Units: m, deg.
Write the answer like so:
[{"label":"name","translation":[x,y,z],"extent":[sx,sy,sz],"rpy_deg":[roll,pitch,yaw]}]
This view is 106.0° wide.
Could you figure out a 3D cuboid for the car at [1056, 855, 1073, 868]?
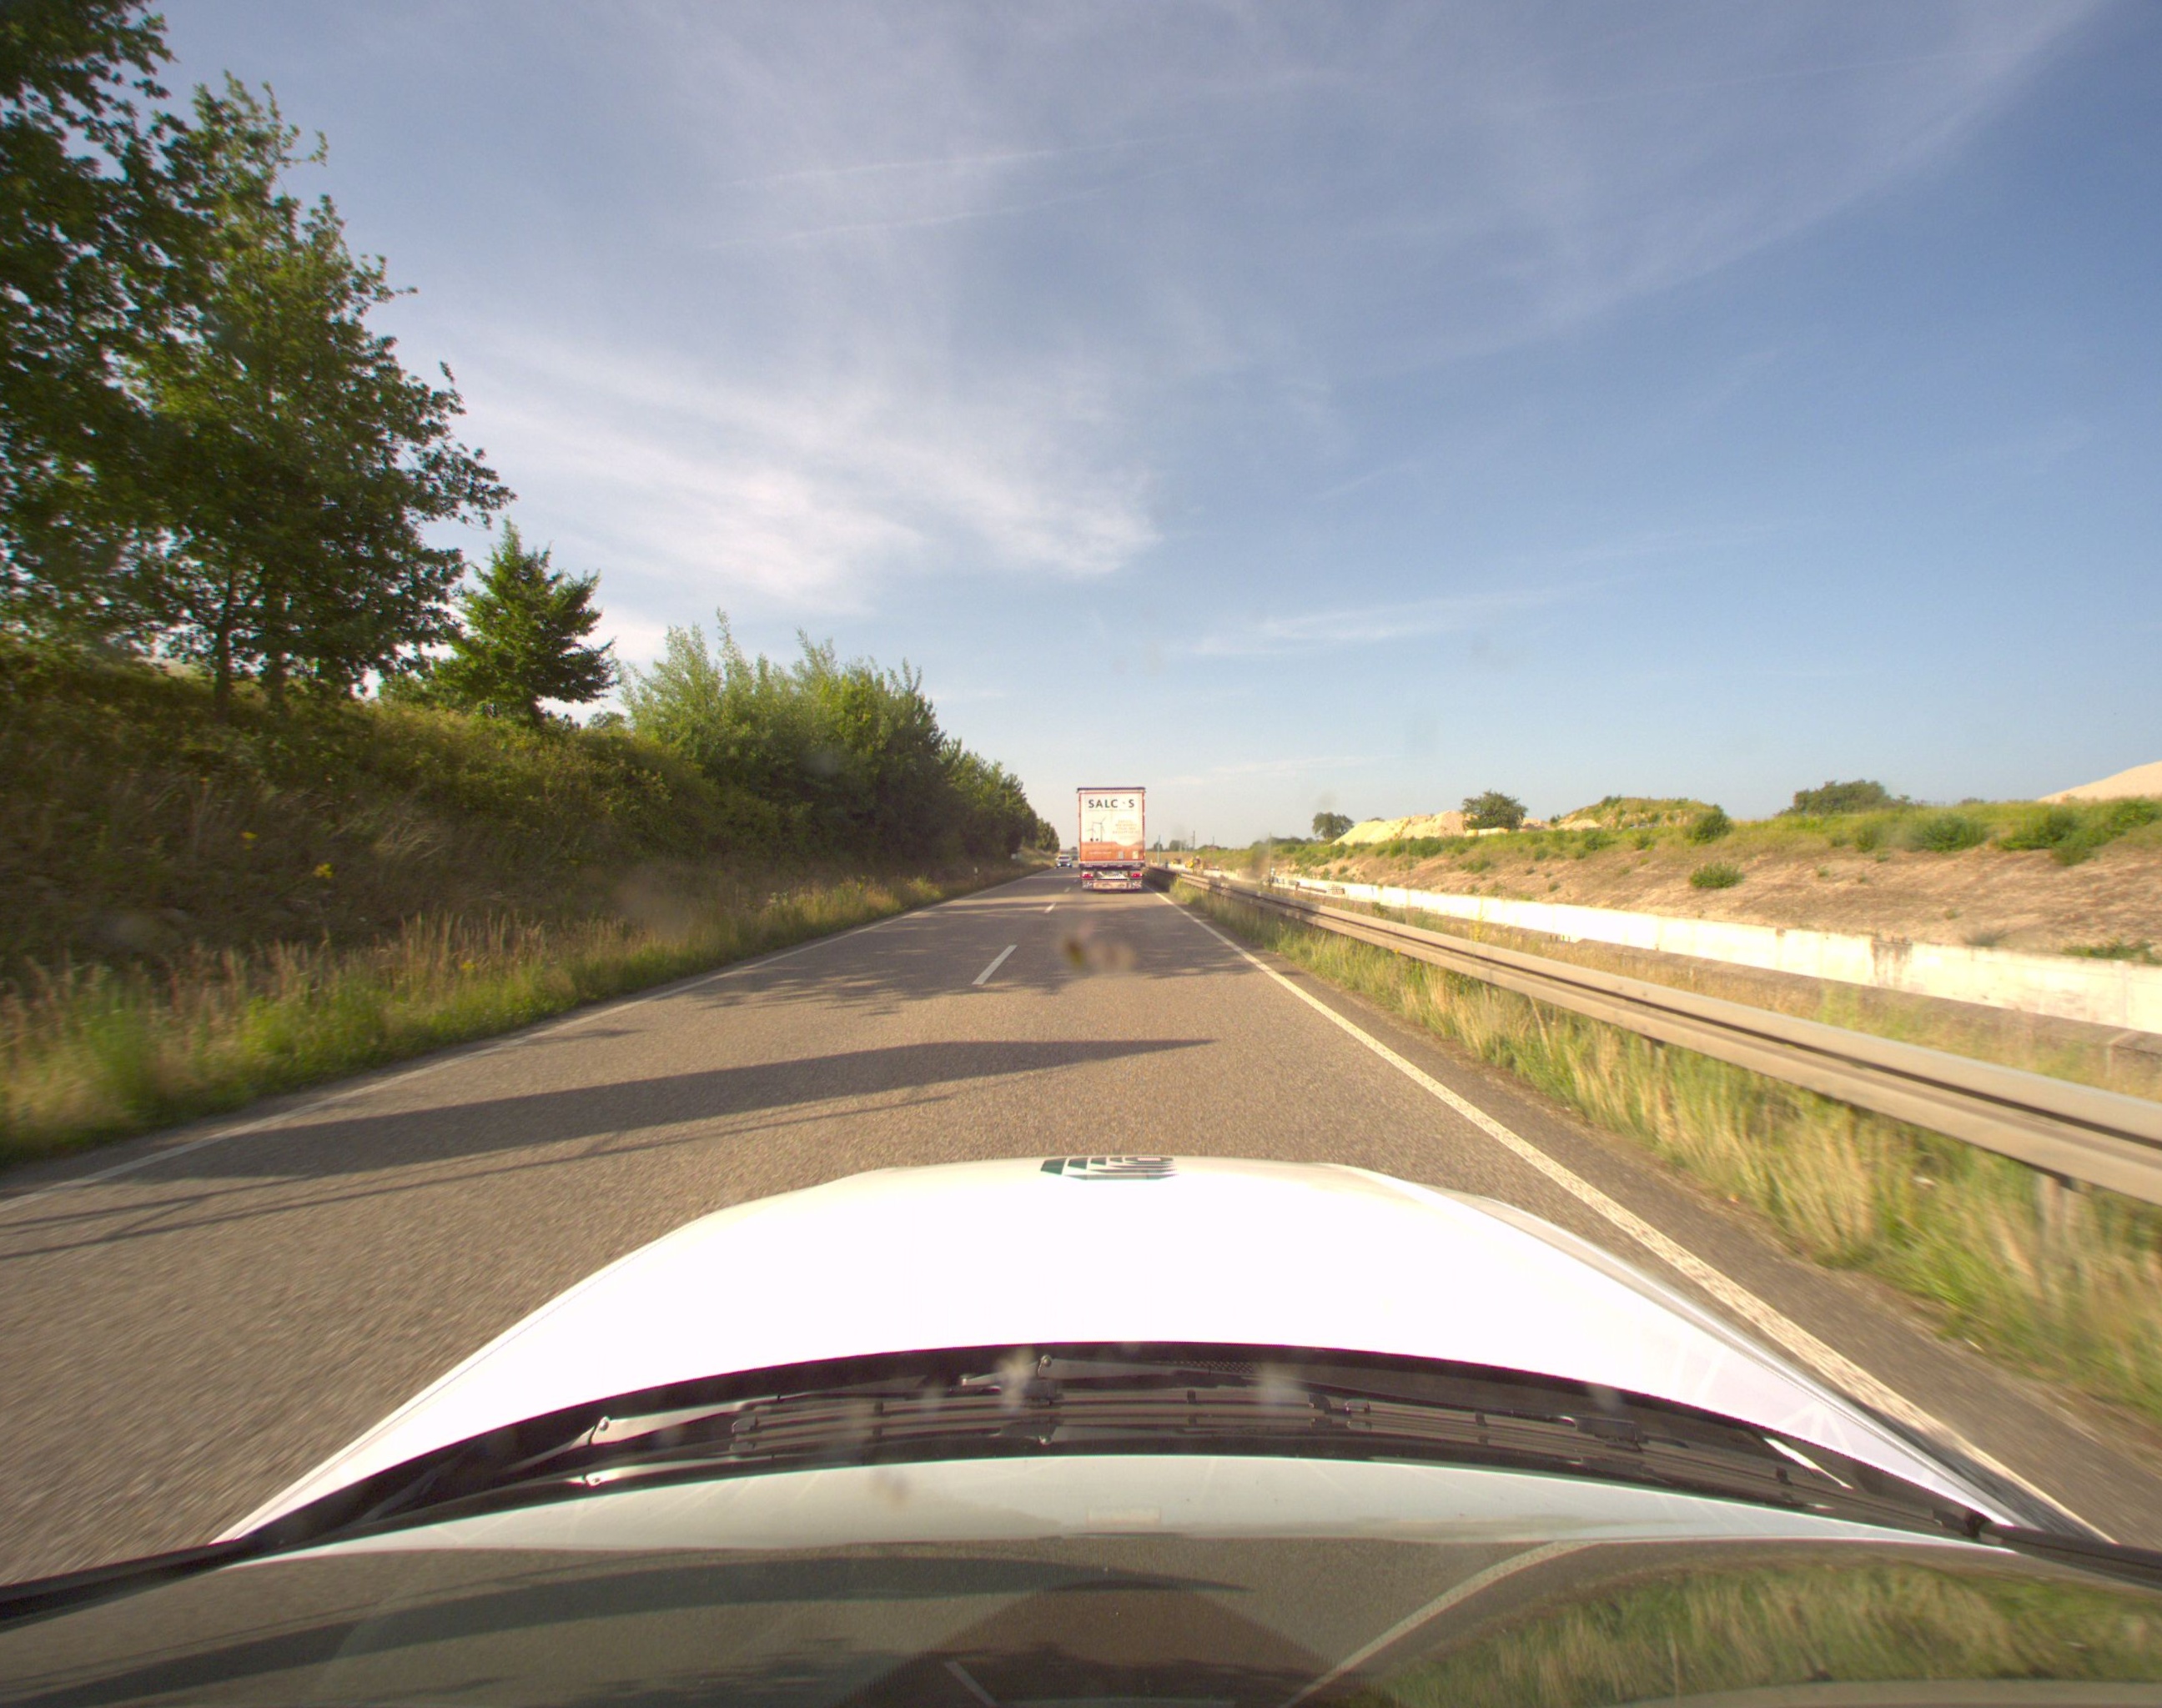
[{"label":"car","translation":[-1.979,0.887,97.010],"extent":[1.738,1.564,4.367],"rpy_deg":[0,0,2]}]

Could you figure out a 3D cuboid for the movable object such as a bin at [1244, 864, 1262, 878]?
[{"label":"movable object such as a bin","translation":[32.292,3.218,152.874],"extent":[2.877,2.661,2.031],"rpy_deg":[0,0,25]}]

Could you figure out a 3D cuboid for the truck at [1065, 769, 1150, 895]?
[{"label":"truck","translation":[1.056,-0.827,34.984],"extent":[3.142,4.688,8.442],"rpy_deg":[-1,0,1]}]
